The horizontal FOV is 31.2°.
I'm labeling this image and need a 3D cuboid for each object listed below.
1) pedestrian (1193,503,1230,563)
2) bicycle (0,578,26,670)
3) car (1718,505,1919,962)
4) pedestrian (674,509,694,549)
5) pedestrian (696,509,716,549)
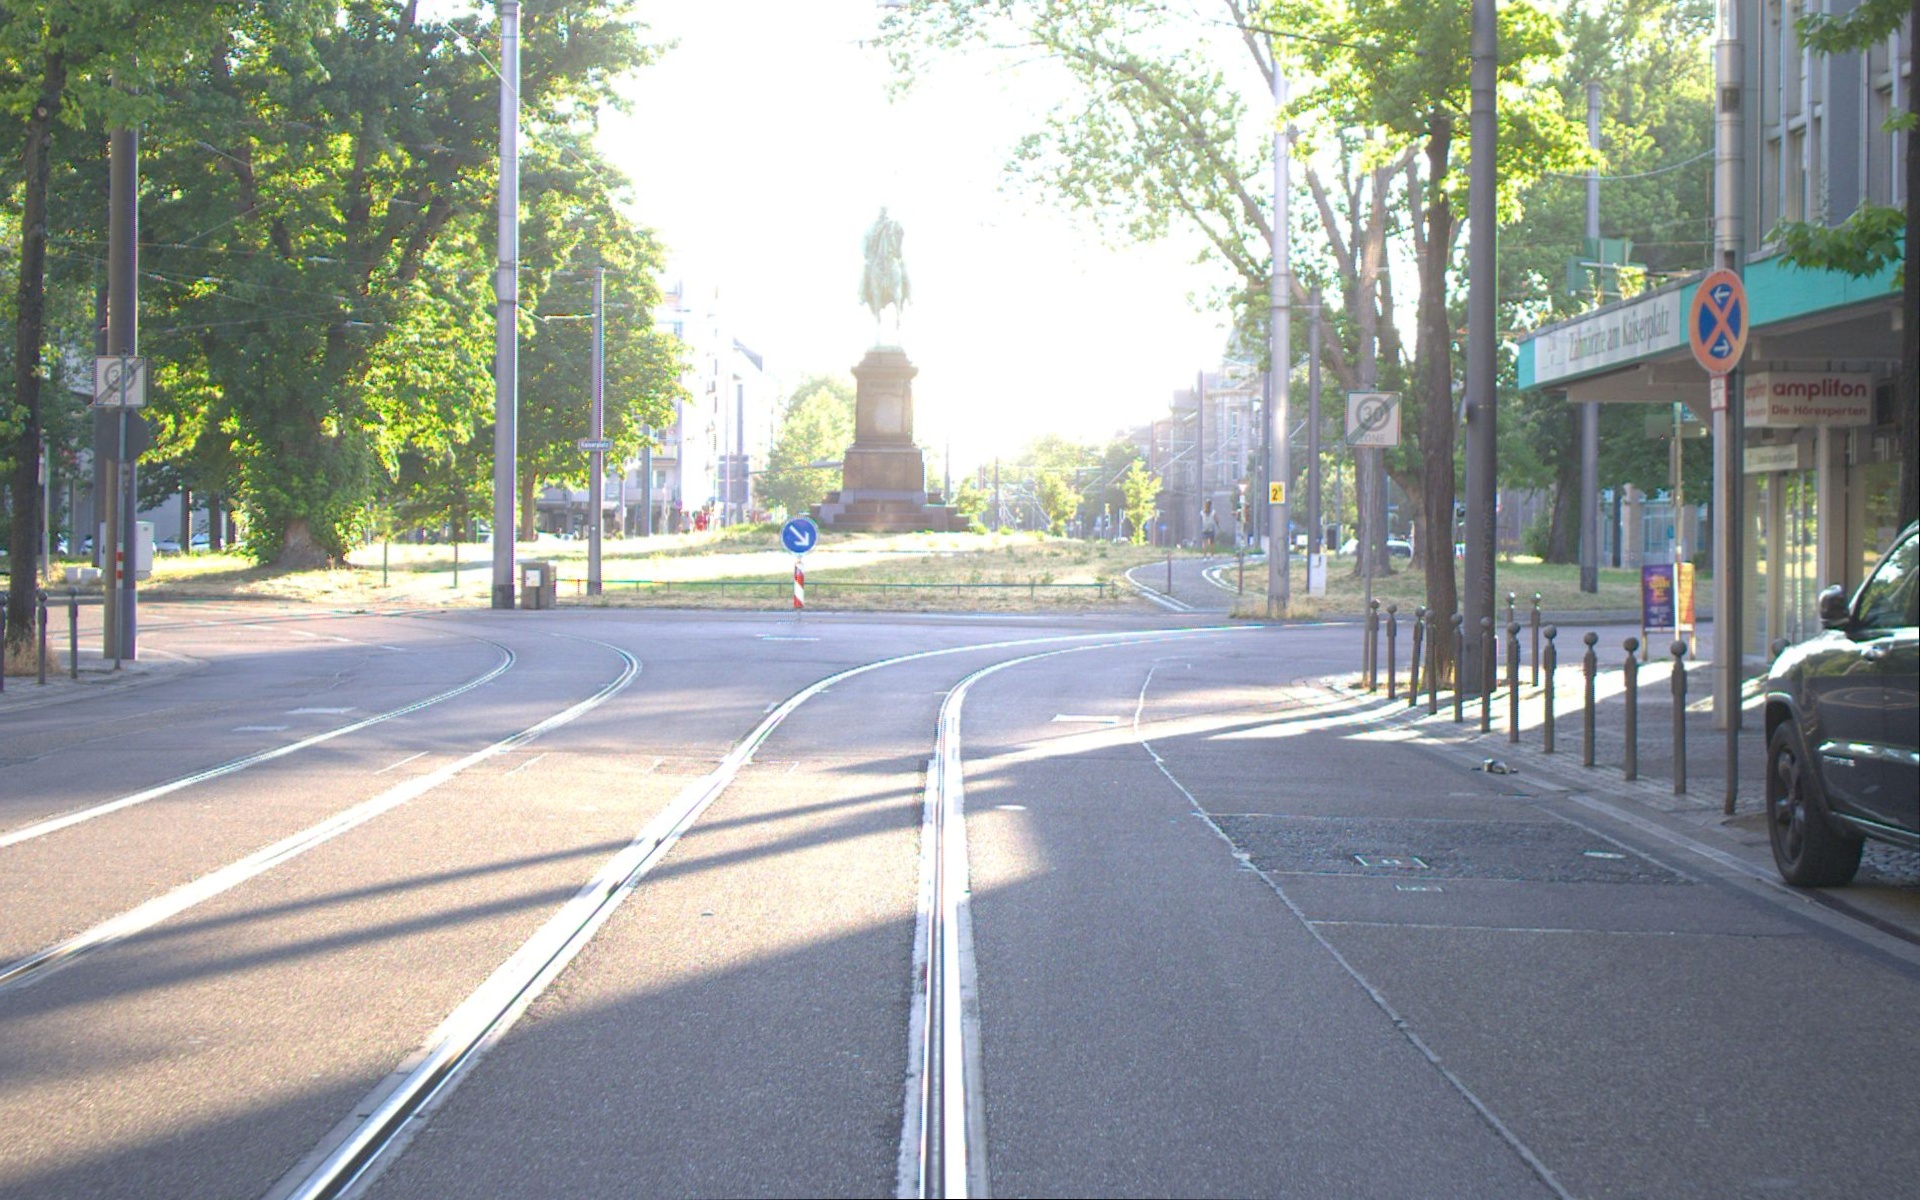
[{"bbox_3d":[6.735,-1.794,92.130,0.769,1.600,0.638,-1,2,-41],"label":"pedestrian"},{"bbox_3d":[-10.221,0.253,36.237,0.336,0.942,1.510,0,1,1],"label":"bicycle"},{"bbox_3d":[4.662,0.468,14.161,1.938,1.753,4.680,-3,1,0],"label":"car"},{"bbox_3d":[-11.108,-2.864,138.314,0.769,1.600,0.638,0,1,-7],"label":"pedestrian"},{"bbox_3d":[-10.195,-2.851,137.954,0.769,1.600,0.638,0,1,-7],"label":"pedestrian"}]
